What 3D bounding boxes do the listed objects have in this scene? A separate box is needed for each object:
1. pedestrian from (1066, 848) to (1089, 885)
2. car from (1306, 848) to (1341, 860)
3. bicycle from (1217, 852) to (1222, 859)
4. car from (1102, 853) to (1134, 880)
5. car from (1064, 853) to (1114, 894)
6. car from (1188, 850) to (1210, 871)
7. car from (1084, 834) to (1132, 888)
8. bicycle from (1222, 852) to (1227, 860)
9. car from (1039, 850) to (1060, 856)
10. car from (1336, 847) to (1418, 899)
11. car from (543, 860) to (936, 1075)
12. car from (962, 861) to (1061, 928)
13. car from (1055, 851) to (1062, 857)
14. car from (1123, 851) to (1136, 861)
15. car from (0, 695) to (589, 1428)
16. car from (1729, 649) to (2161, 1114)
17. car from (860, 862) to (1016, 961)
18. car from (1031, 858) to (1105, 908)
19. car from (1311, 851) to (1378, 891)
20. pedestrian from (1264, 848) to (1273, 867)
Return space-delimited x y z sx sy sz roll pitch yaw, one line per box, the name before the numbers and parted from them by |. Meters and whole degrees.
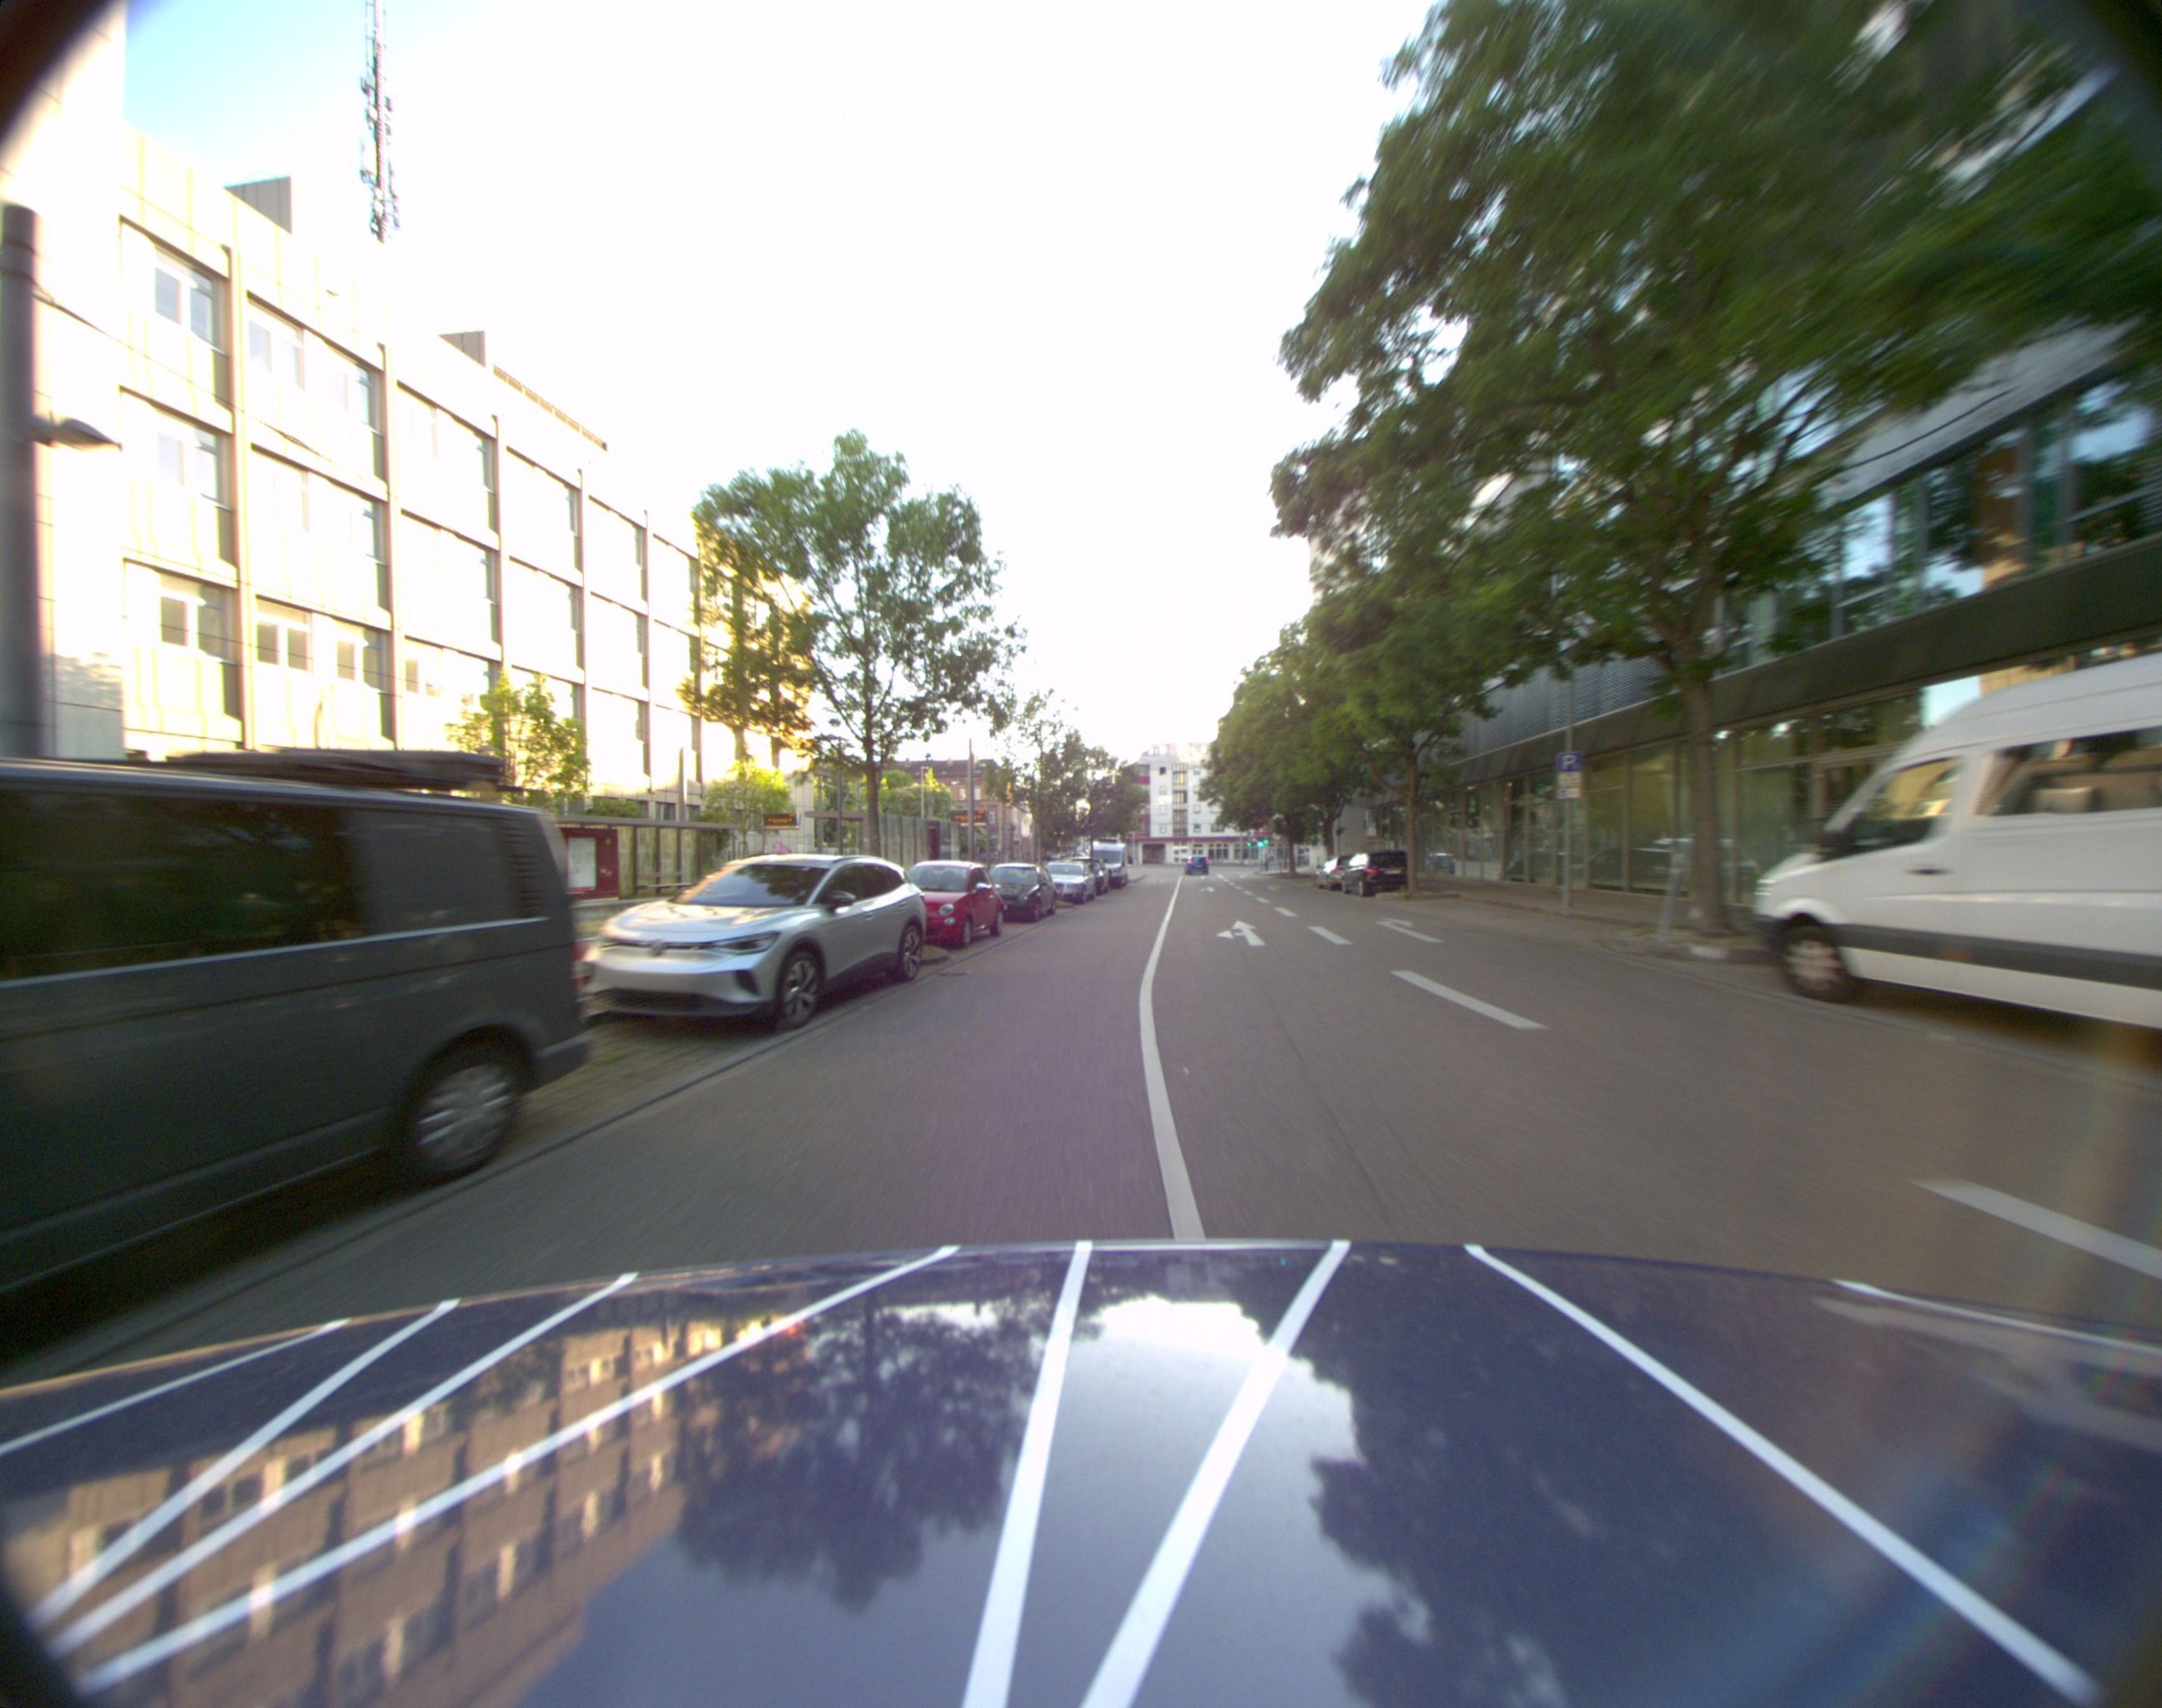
pedestrian | -0.172 0.675 42.093 0.981 2.002 0.806 -1 1 -37
car | 31.469 0.023 98.663 4.096 1.587 1.667 0 1 8
bicycle | 19.308 0.207 105.735 0.515 1.040 1.903 0 1 5
car | 2.396 0.754 48.140 1.751 1.574 4.014 3 1 5
car | 0.413 0.831 34.200 1.711 1.634 4.269 1 1 7
car | 9.979 0.505 64.501 1.751 1.668 4.275 -1 0 9
car | 1.534 0.325 41.338 2.055 2.642 5.436 3 1 7
bicycle | 19.930 0.272 105.414 0.515 1.040 1.903 0 1 5
car | -7.462 -0.237 179.642 4.703 1.477 1.906 -1 1 -4
car | 10.175 0.589 26.444 1.593 1.559 4.474 -4 0 8
car | -3.203 0.909 8.308 1.710 1.571 4.482 1 1 9
car | -1.701 0.969 19.864 1.711 1.443 4.002 1 1 7
car | -6.042 0.056 203.646 1.786 1.448 4.295 -1 1 -3
car | 7.520 0.285 117.432 2.006 1.448 4.298 0 1 4
car | -4.089 0.600 2.220 1.807 2.164 4.738 1 1 7
car | 7.194 0.146 4.204 2.104 2.648 6.955 -1 0 8
car | -2.533 0.958 14.515 1.711 1.484 4.132 1 1 7
car | -0.367 0.972 27.616 1.799 1.487 4.784 3 1 9
car | 10.929 0.654 31.820 1.706 1.453 4.629 -4 0 8
pedestrian | 16.402 0.300 66.310 0.545 1.691 0.709 0 1 35
